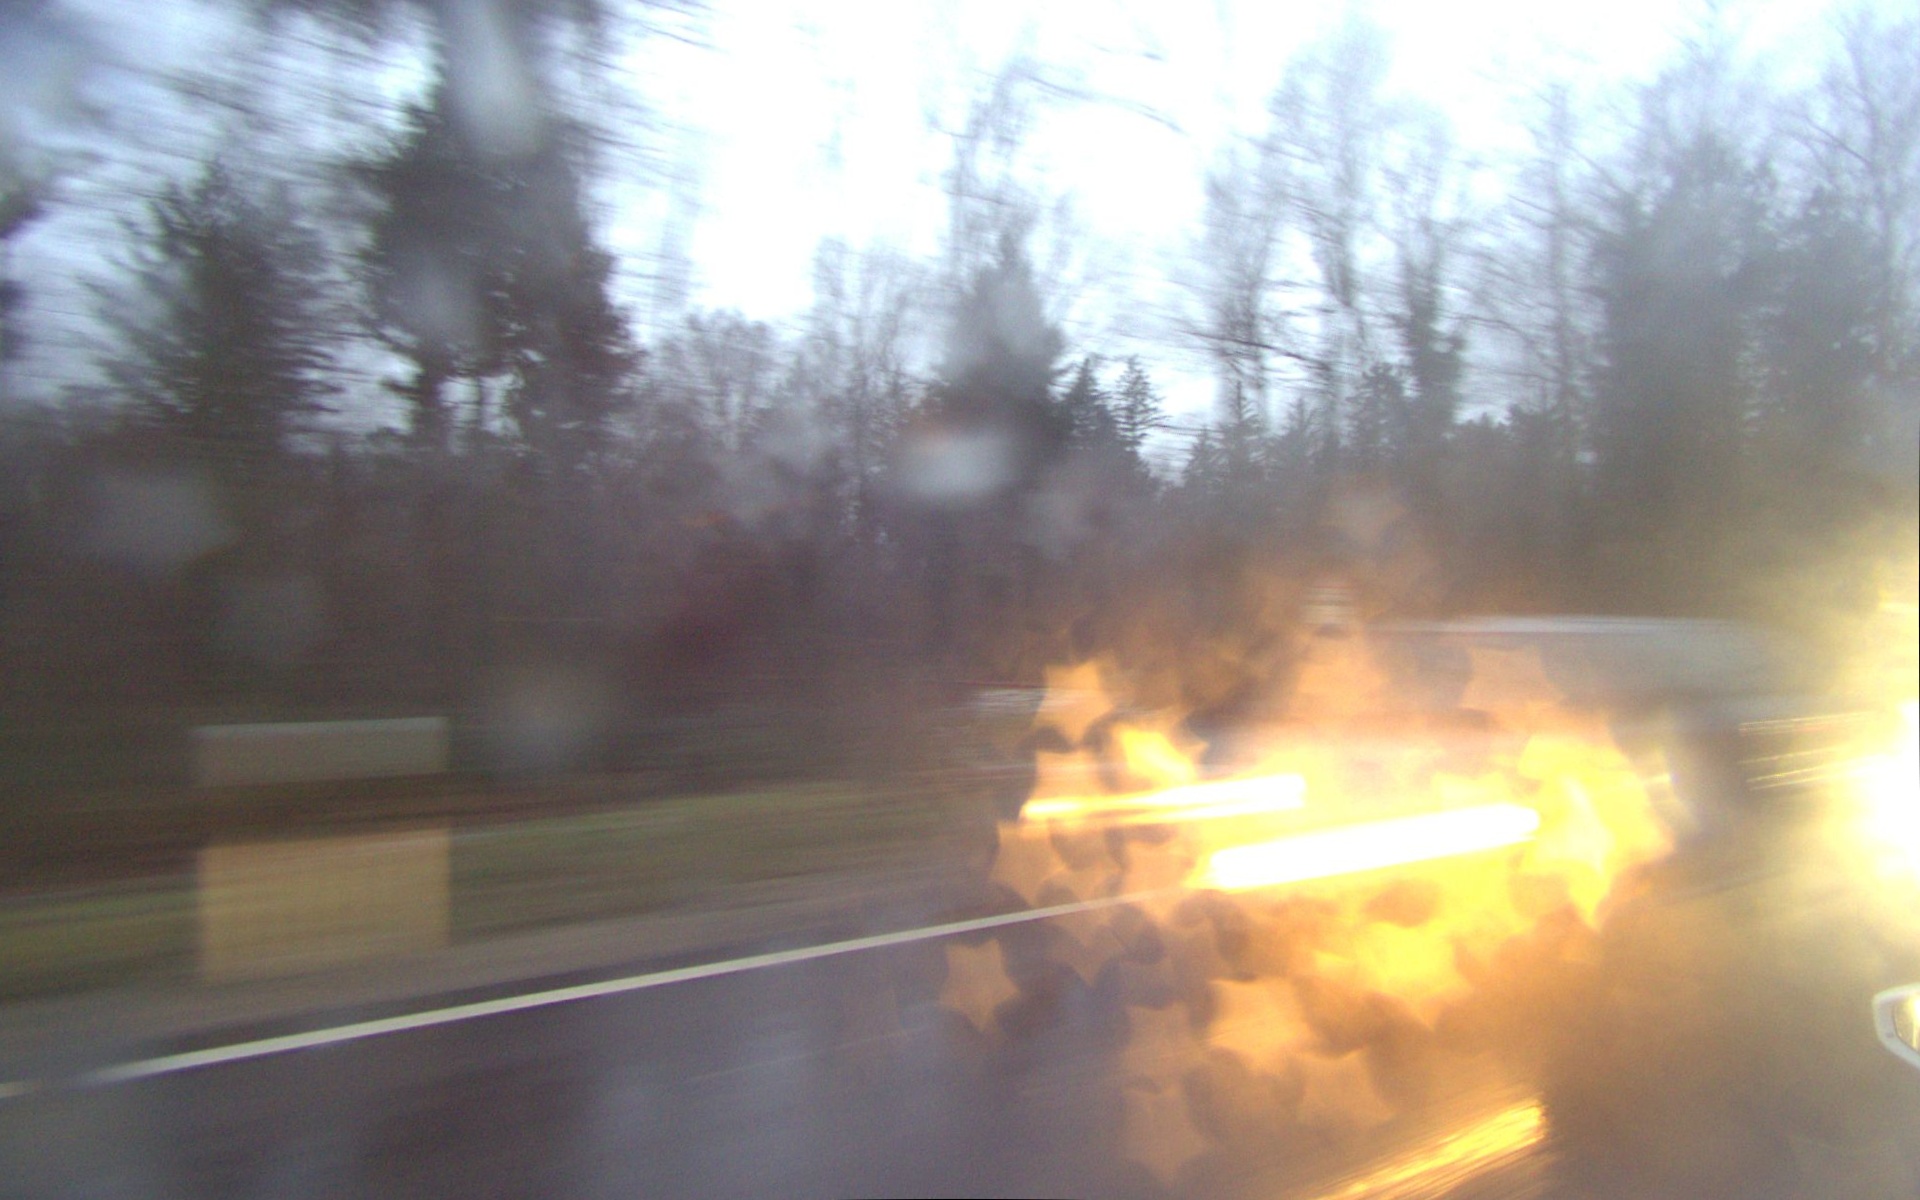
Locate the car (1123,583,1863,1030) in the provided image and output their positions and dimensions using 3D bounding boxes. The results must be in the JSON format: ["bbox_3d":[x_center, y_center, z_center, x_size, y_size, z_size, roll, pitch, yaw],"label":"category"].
[{"bbox_3d":[2.936,0.823,5.417,3.817,1.621,1.792,1,-3,-30],"label":"car"}]
